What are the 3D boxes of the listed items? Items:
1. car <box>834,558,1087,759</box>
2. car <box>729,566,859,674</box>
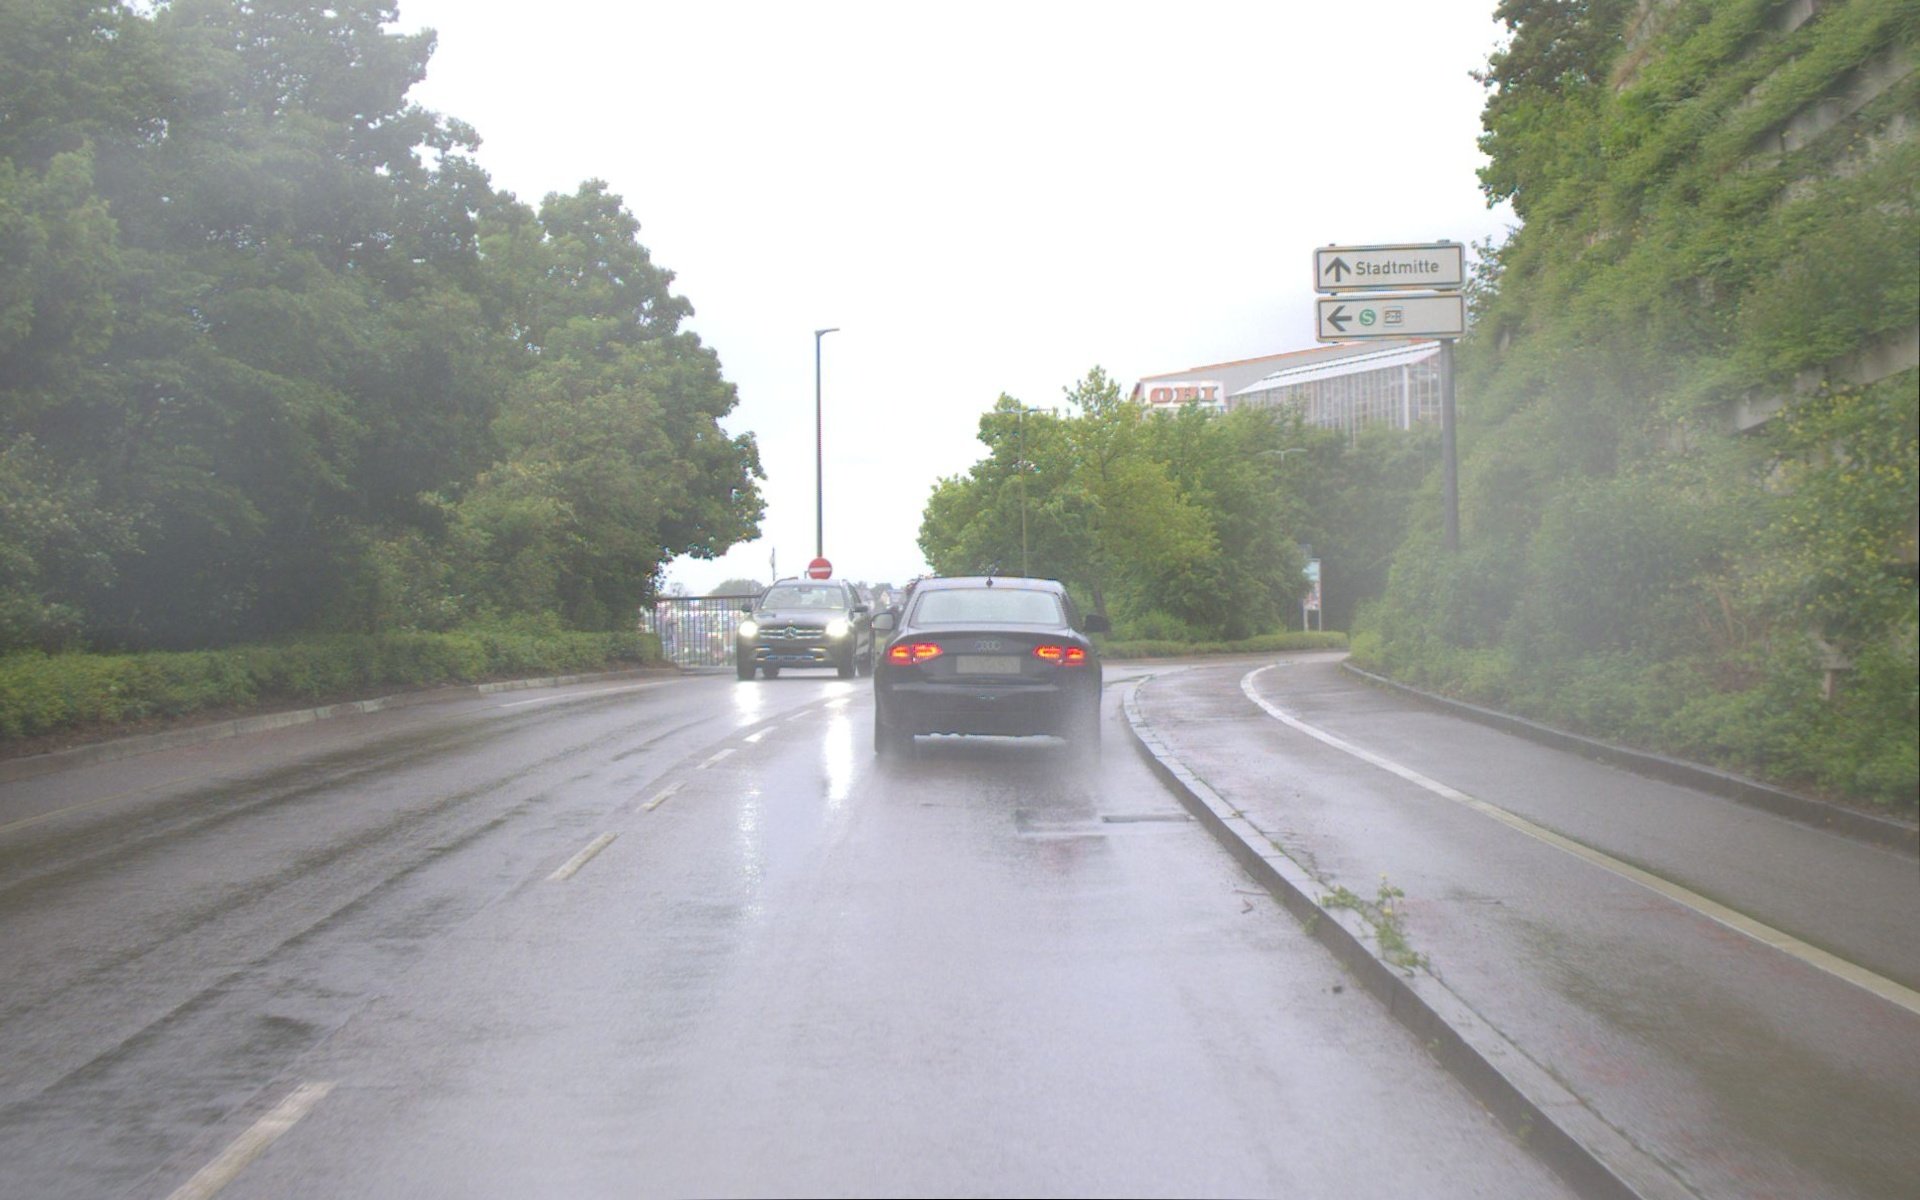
[{"bbox_3d":[0.070,0.410,27.794,1.893,1.487,4.207,0,1,2],"label":"car"},{"bbox_3d":[-2.675,0.295,56.266,1.830,1.700,4.333,0,1,1],"label":"car"}]
